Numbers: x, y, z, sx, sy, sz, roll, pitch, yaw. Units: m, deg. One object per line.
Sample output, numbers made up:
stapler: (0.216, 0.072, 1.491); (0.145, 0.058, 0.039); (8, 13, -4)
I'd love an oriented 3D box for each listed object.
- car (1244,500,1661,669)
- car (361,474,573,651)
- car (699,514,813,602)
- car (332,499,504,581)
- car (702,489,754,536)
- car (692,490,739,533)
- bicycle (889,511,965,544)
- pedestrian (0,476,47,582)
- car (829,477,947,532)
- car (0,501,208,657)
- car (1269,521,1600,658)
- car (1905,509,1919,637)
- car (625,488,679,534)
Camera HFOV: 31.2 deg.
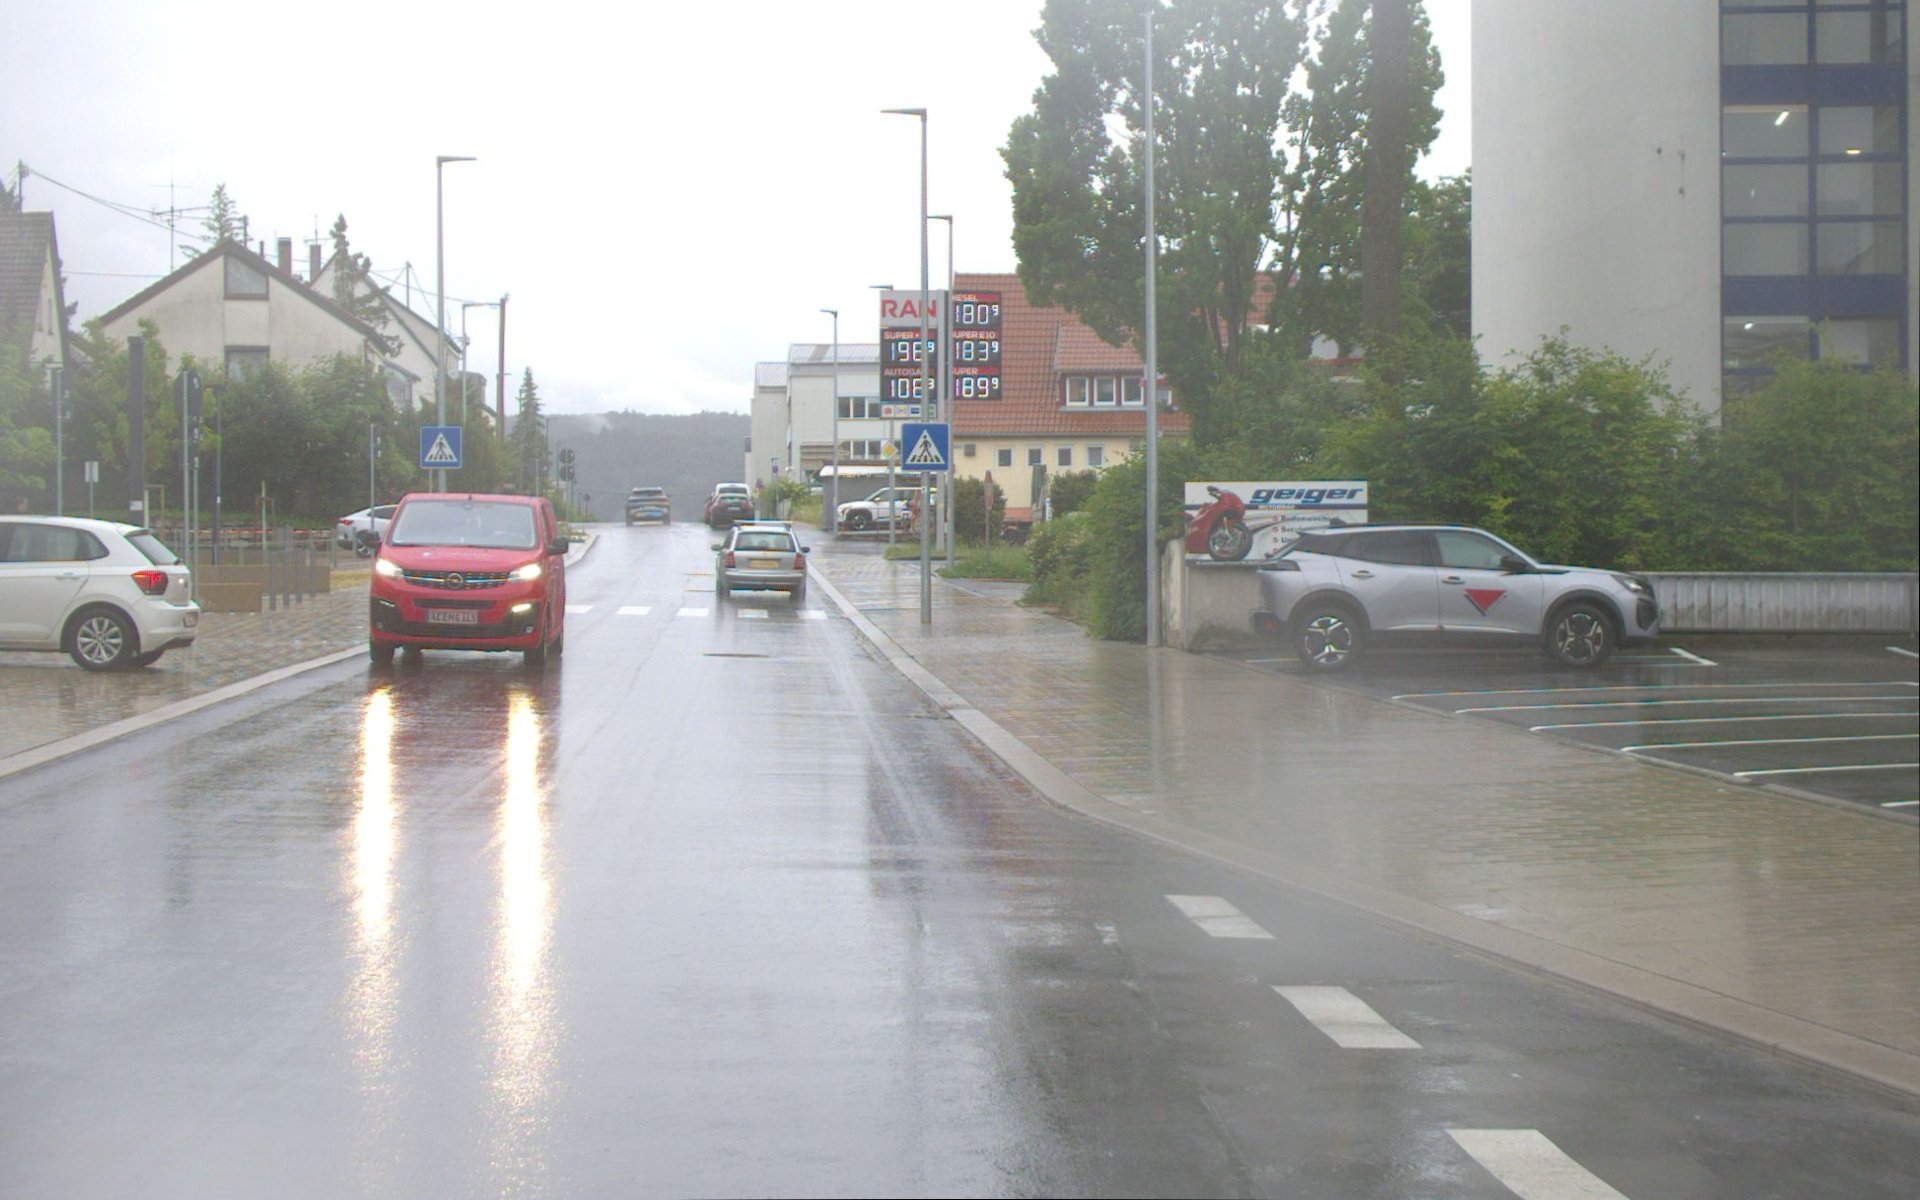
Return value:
car: (5.155, -0.175, 36.318); (4.208, 1.644, 2.000); (-1, 1, 6)
car: (-5.391, -0.441, 38.130); (2.002, 1.811, 4.980); (0, 1, -5)
car: (-4.054, -0.810, 67.837); (1.948, 1.550, 4.001); (4, -1, -6)
car: (-15.726, -1.729, 99.903); (4.752, 2.007, 2.000); (4, -1, -8)
car: (-9.653, -3.644, 143.150); (1.993, 1.700, 4.000); (4, -1, -4)
car: (-11.110, -4.014, 156.214); (1.993, 1.700, 4.000); (4, -1, -4)
bicycle: (-1.173, -2.569, 121.201); (0.668, 1.063, 3.629); (4, -1, -35)
pedestrian: (-15.559, -1.167, 56.350); (1.013, 1.718, 0.772); (1, 1, -6)
car: (-2.698, -3.553, 127.724); (4.111, 1.700, 1.789); (4, -1, -7)
car: (-9.269, -0.224, 32.538); (3.927, 1.418, 1.898); (0, 1, -3)
car: (5.336, -0.132, 38.982); (3.622, 1.489, 1.806); (0, 1, 6)
car: (11.575, -0.264, 37.024); (1.933, 1.437, 4.206); (1, 1, 5)
car: (-13.359, -3.851, 149.205); (2.154, 1.700, 4.000); (4, -1, -4)
